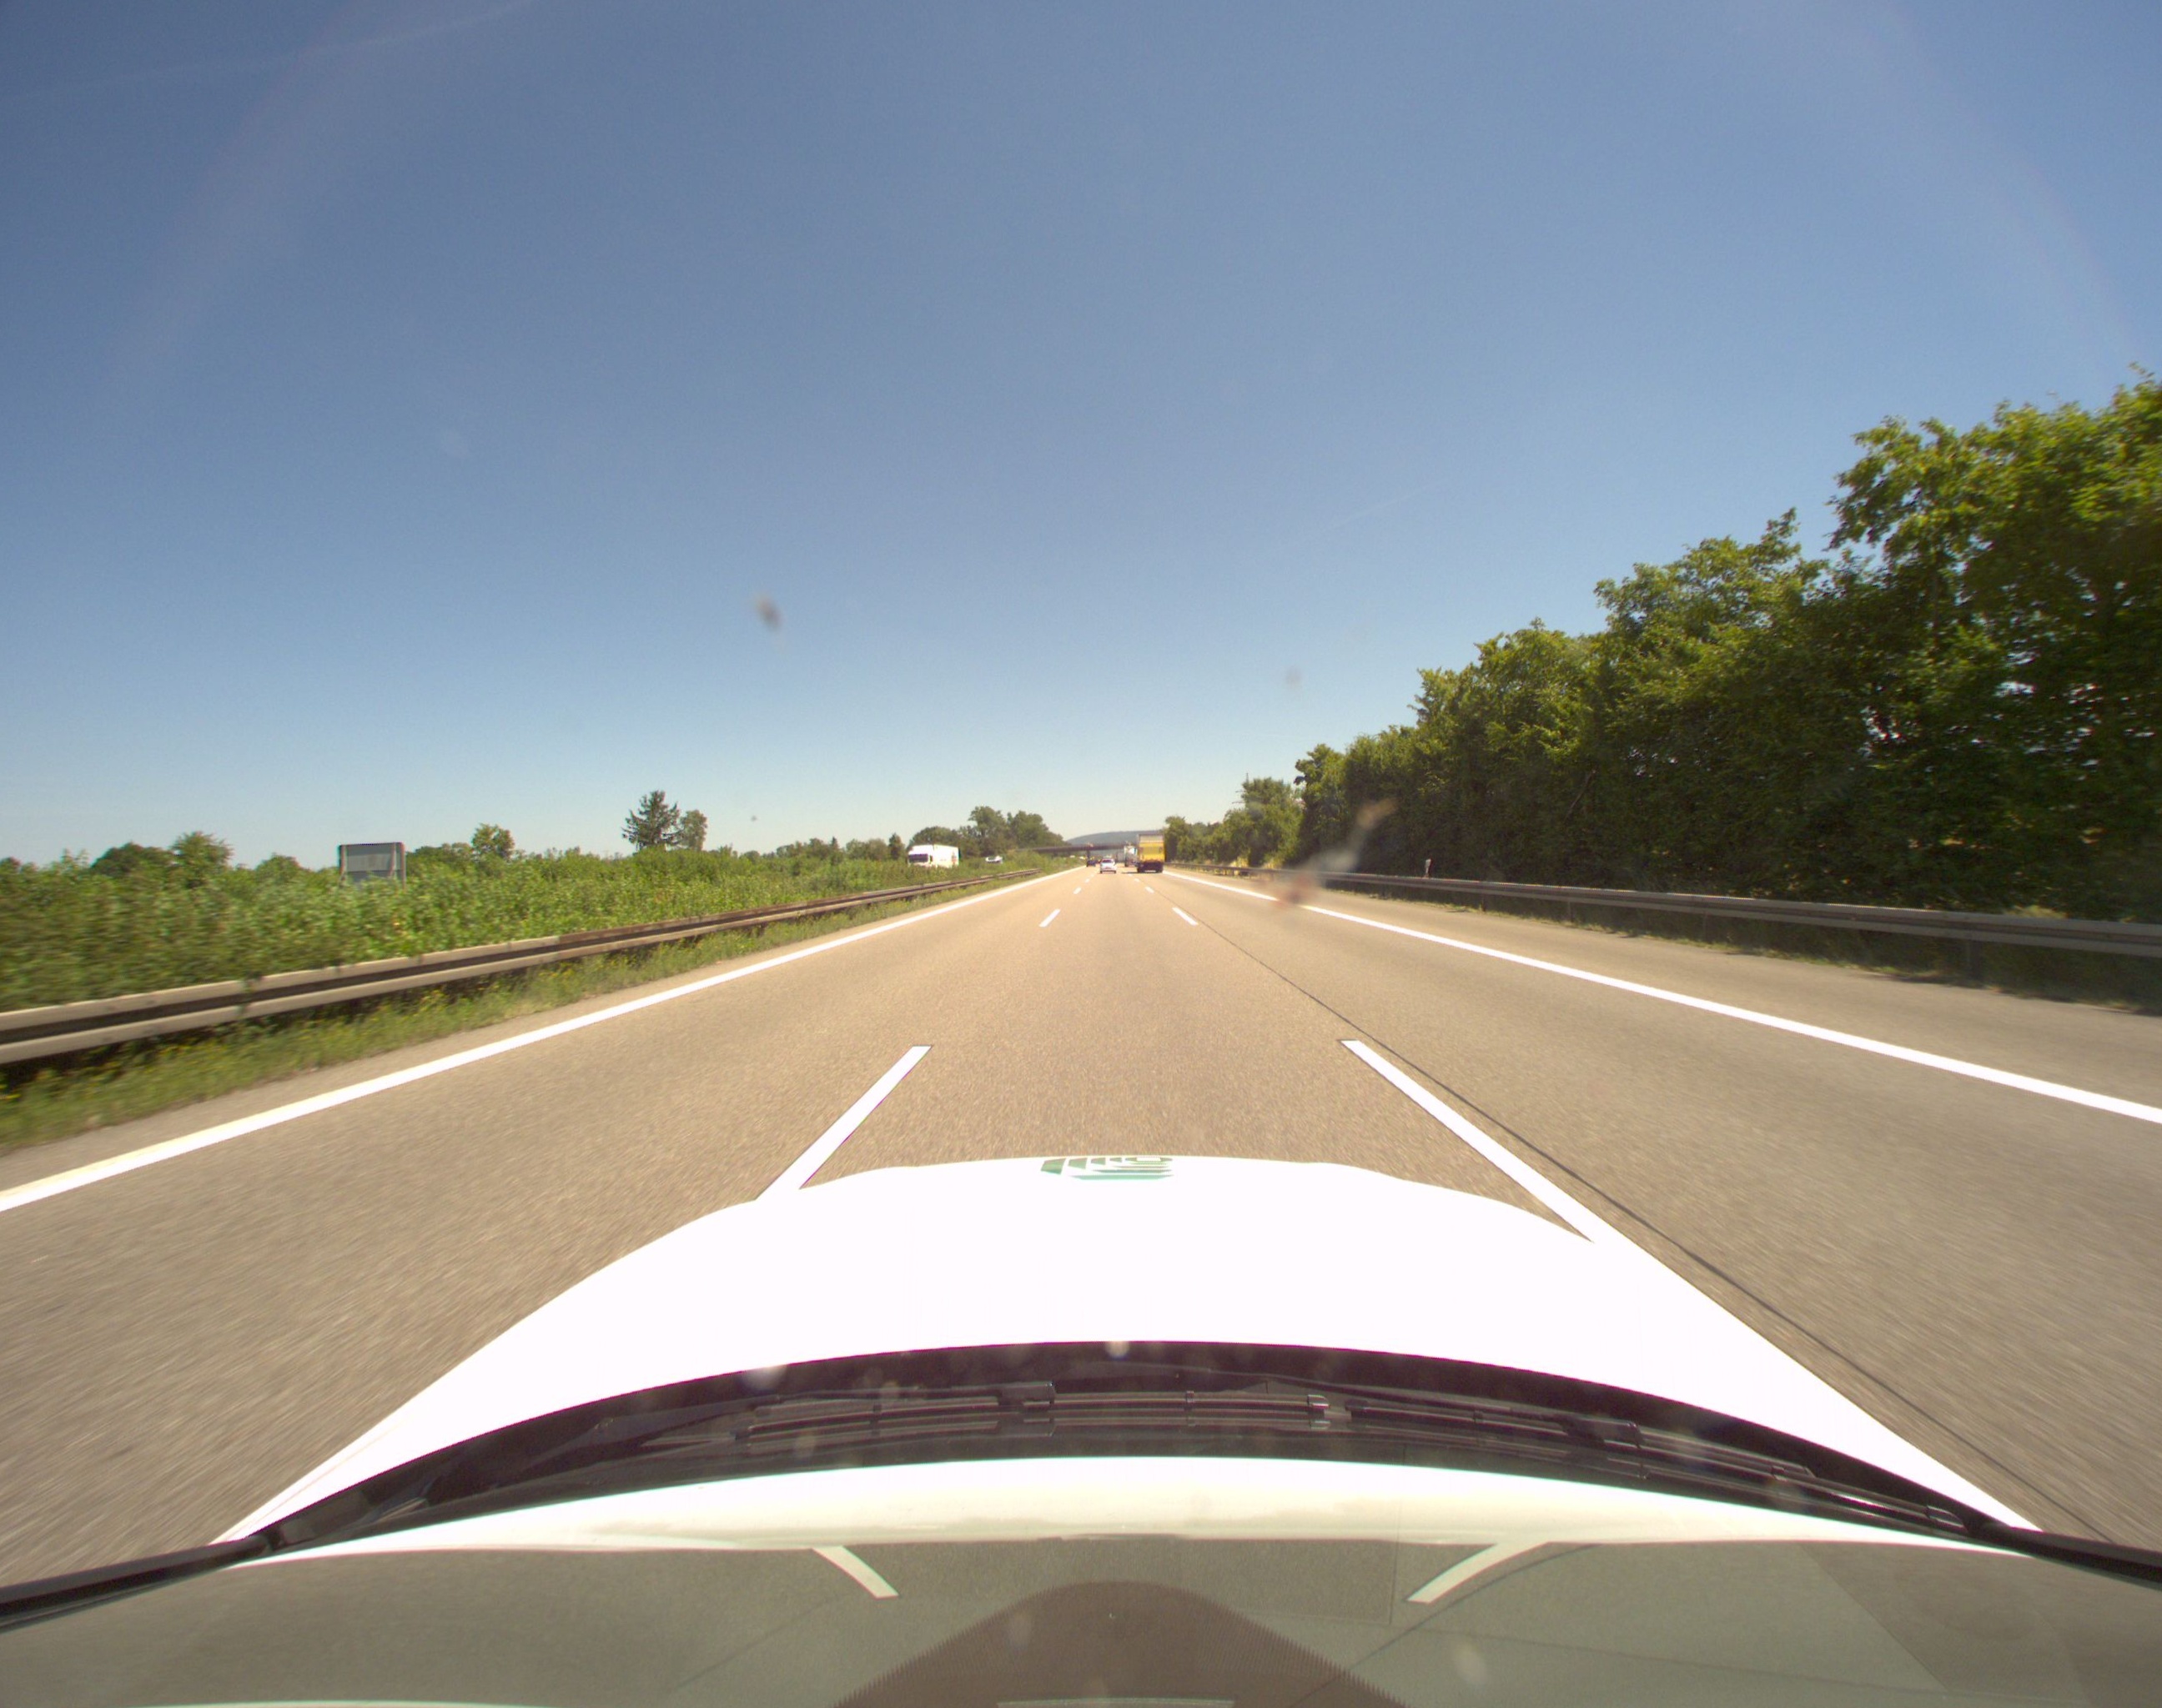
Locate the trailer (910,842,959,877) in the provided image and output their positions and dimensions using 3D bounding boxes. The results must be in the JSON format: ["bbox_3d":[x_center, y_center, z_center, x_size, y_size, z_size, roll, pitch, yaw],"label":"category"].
[{"bbox_3d":[-17.162,0.653,96.596,2.922,3.870,13.915,0,0,2],"label":"trailer"}]

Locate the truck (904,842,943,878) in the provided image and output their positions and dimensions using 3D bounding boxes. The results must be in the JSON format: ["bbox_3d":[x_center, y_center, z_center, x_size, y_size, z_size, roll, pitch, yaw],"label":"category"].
[{"bbox_3d":[-17.357,0.621,90.097,2.922,3.870,5.754,0,0,2],"label":"truck"}]

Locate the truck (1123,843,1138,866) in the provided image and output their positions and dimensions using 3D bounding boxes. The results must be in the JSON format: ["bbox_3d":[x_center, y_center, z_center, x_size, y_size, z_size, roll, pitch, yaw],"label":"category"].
[{"bbox_3d":[9.236,0.083,151.705,2.563,4.072,6.394,0,0,1],"label":"truck"}]

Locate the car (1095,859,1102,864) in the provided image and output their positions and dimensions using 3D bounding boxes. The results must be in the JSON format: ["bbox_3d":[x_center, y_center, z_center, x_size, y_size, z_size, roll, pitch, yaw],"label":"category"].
[{"bbox_3d":[4.976,2.191,229.201,1.828,1.386,4.002,0,0,2],"label":"car"}]

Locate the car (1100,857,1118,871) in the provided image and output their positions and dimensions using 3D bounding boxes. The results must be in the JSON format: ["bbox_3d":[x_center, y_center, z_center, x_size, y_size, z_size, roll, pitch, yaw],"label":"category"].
[{"bbox_3d":[2.929,1.073,85.653,1.799,1.468,4.002,0,0,2],"label":"car"}]

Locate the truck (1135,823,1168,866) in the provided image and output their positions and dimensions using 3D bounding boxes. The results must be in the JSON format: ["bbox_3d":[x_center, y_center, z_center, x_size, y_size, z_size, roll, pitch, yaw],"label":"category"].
[{"bbox_3d":[7.328,-0.915,86.202,2.922,4.200,10.685,0,0,2],"label":"truck"}]

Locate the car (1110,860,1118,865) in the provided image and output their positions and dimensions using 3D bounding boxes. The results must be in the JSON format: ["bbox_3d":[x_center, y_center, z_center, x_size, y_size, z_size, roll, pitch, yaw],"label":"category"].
[{"bbox_3d":[7.772,2.007,193.994,1.828,1.386,4.002,0,0,2],"label":"car"}]

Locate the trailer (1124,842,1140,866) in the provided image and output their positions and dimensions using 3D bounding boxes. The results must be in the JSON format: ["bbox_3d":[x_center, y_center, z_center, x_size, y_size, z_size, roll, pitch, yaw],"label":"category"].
[{"bbox_3d":[9.116,0.051,147.047,2.570,4.074,11.106,0,0,2],"label":"trailer"}]

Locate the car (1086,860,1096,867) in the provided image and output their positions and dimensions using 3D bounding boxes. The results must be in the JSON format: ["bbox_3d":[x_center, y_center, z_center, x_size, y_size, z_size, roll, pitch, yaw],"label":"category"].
[{"bbox_3d":[2.028,1.798,158.584,1.828,1.386,4.002,0,0,2],"label":"car"}]
